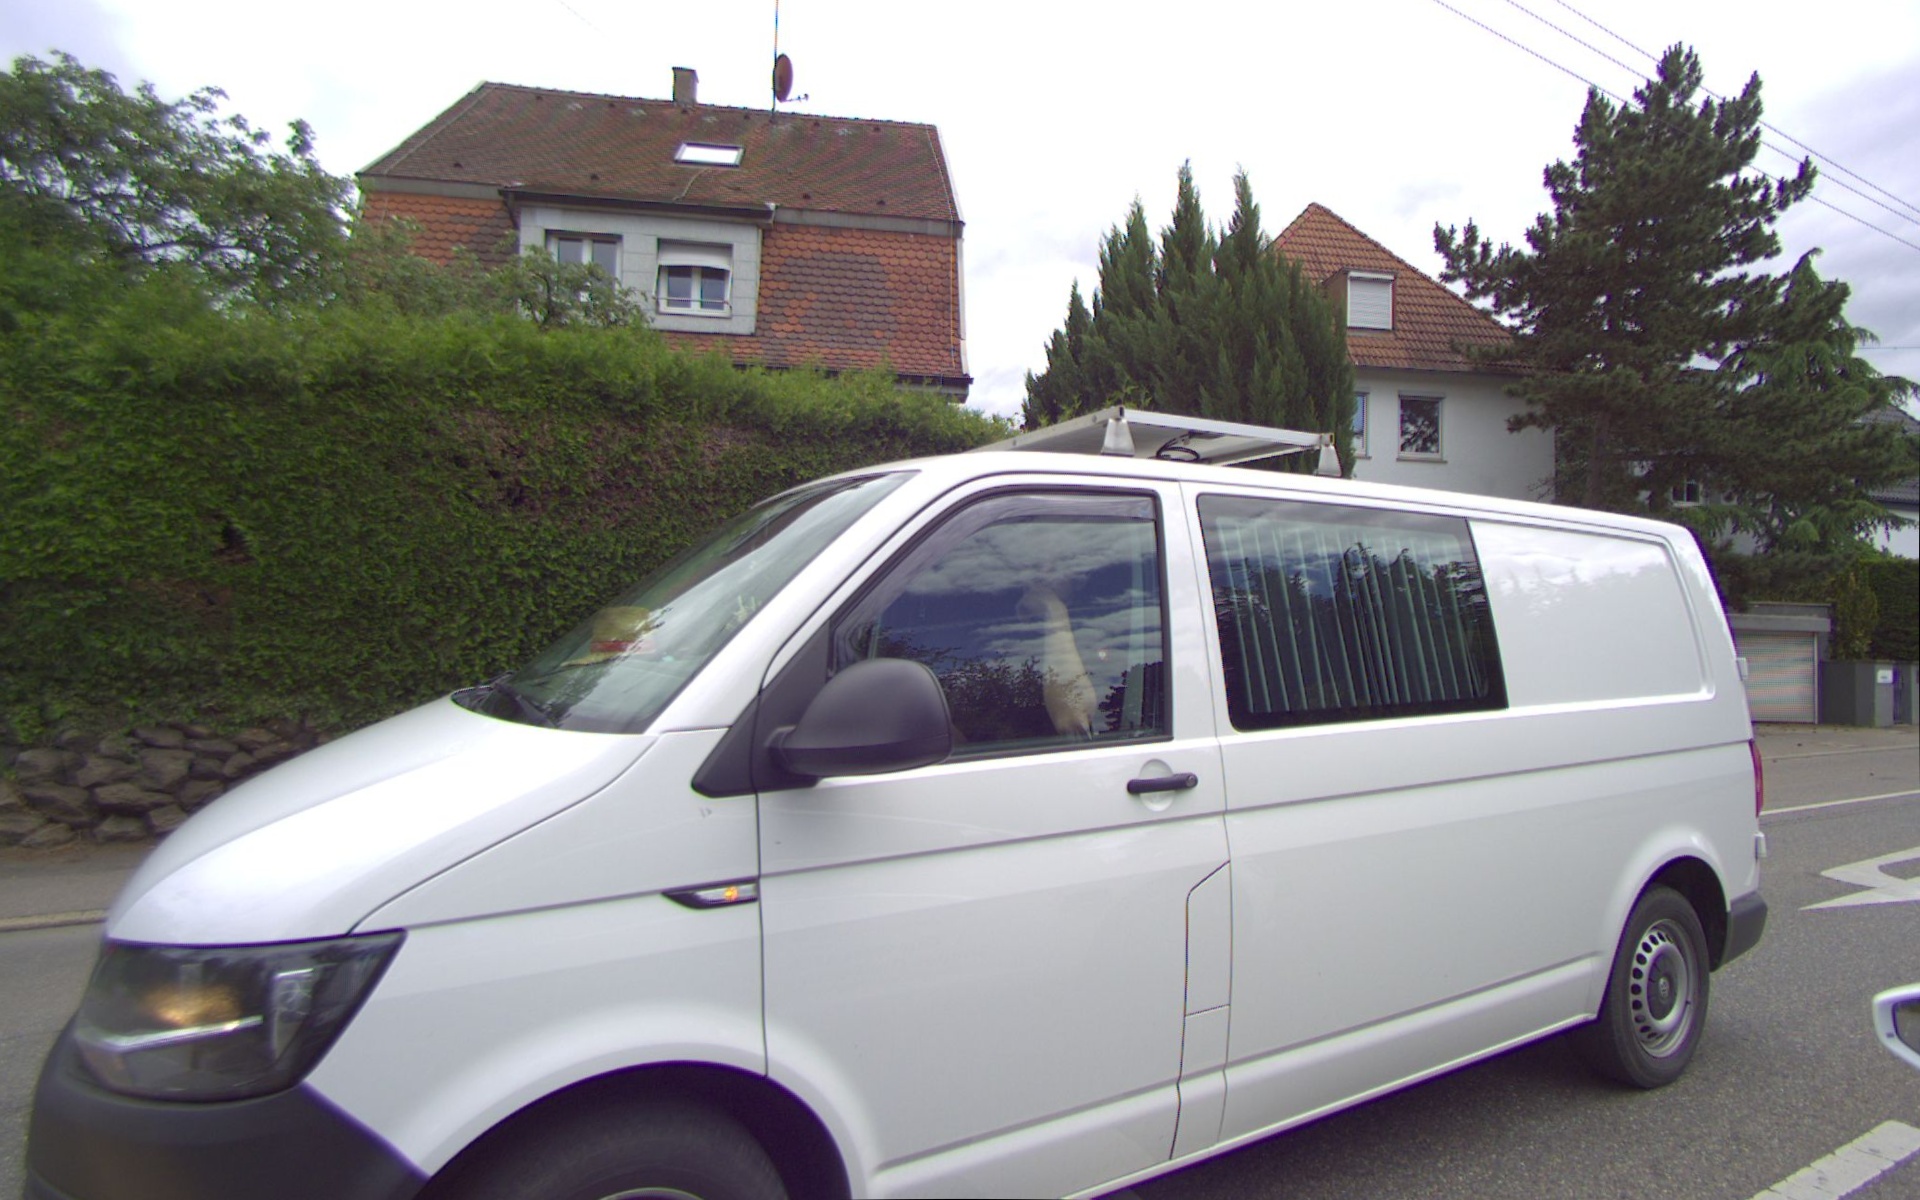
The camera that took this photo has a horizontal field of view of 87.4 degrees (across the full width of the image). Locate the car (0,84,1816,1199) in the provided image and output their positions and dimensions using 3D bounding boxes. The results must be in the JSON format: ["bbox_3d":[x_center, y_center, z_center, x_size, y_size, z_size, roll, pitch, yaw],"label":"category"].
[{"bbox_3d":[0.500,0.519,3.241,5.111,2.074,1.850,2,-3,-30],"label":"car"}]

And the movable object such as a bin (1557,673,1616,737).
[{"bbox_3d":[10.724,1.788,17.211,0.702,1.048,0.480,1,-2,-1],"label":"movable object such as a bin"}]

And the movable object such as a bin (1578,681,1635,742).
[{"bbox_3d":[10.704,1.836,16.635,0.634,0.954,0.465,1,-2,-1],"label":"movable object such as a bin"}]
